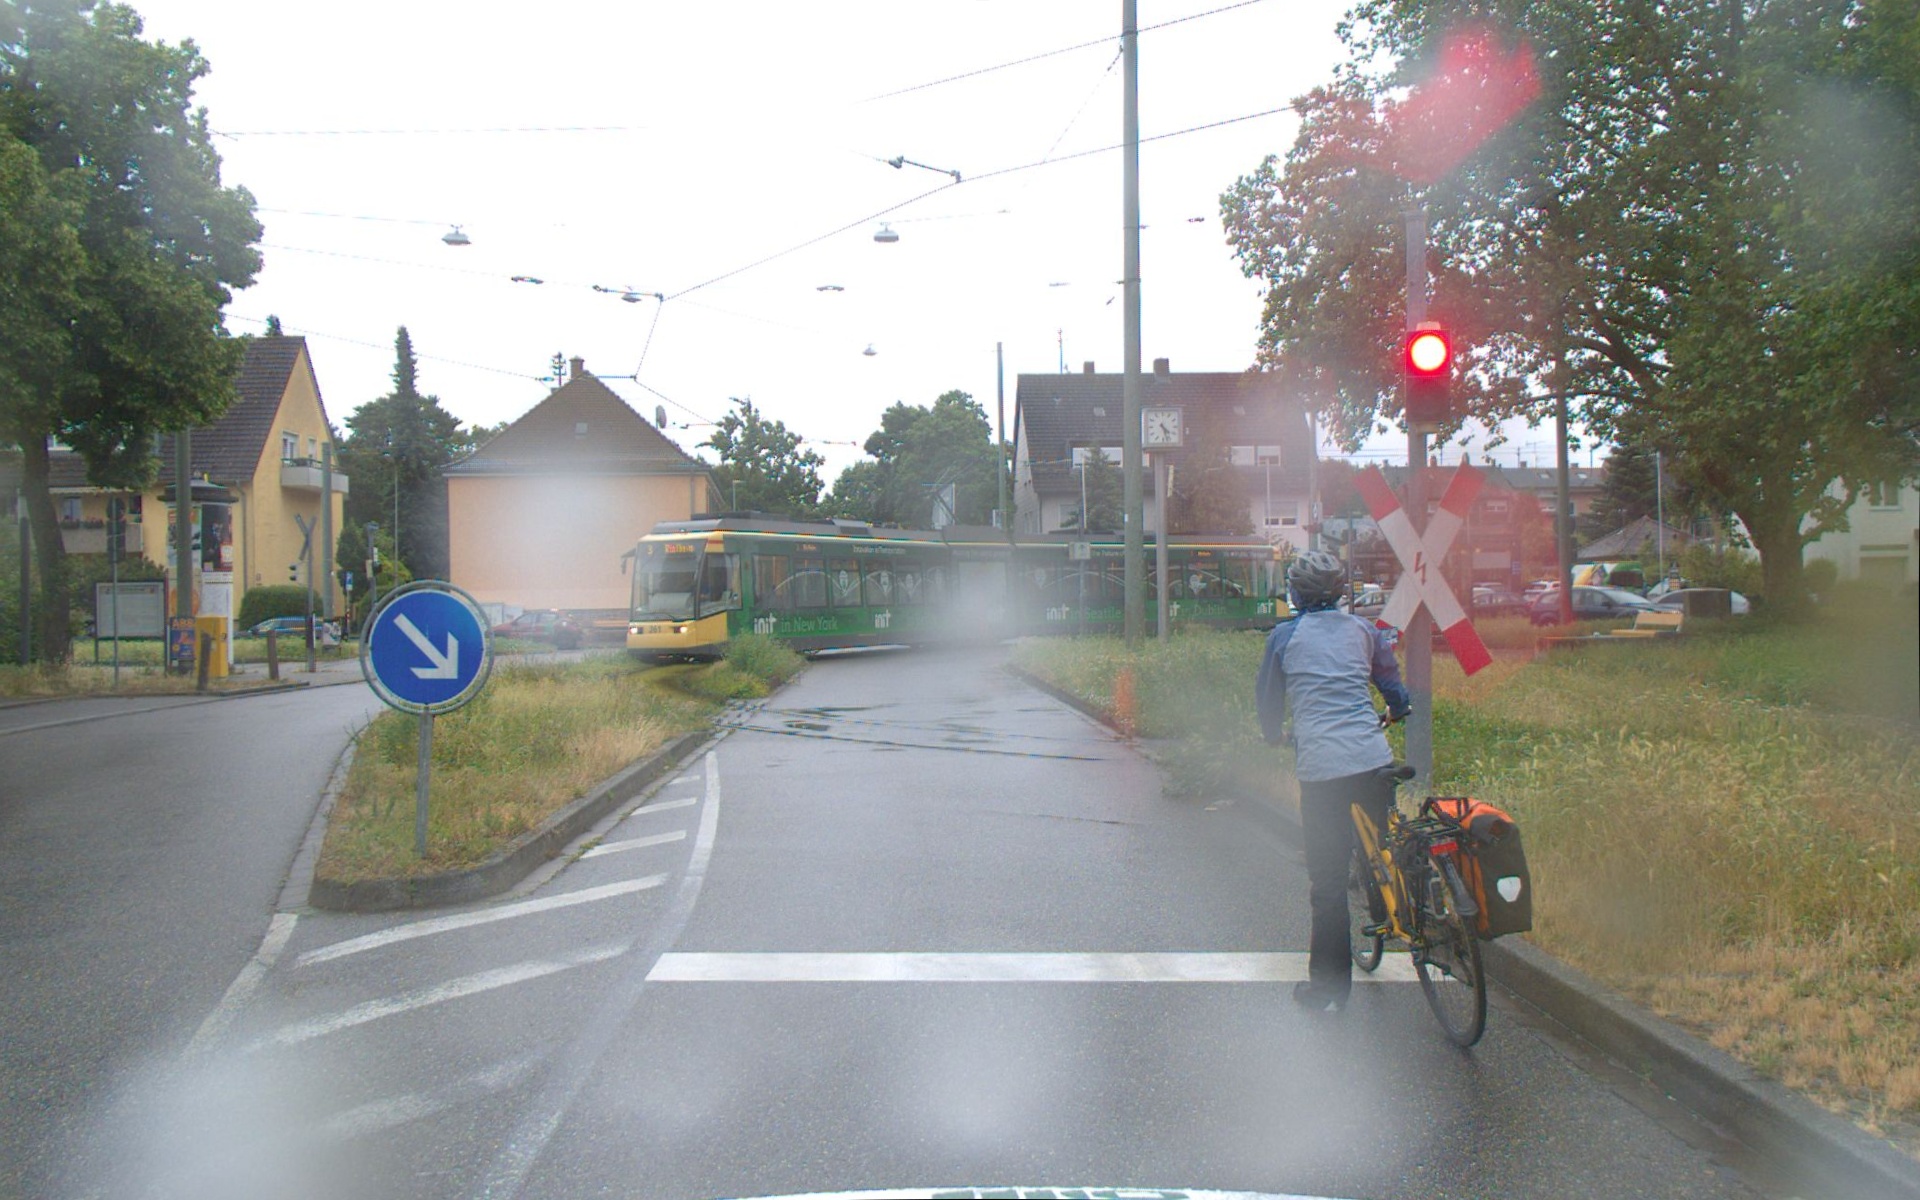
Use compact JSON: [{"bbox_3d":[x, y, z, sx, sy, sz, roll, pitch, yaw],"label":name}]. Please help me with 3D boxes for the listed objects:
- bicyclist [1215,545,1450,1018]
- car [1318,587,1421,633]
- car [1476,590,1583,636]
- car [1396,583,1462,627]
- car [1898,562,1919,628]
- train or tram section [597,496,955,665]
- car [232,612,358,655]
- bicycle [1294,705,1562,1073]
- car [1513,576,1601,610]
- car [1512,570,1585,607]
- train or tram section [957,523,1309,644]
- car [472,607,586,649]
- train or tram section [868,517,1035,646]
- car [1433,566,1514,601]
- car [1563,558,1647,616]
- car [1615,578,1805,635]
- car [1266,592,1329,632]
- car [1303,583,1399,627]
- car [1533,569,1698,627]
[{"bbox_3d":[1.377,0.642,6.242,0.653,1.654,0.852,1,-1,-2],"label":"bicyclist"},{"bbox_3d":[16.143,0.402,65.338,3.609,1.731,1.890,1,0,0],"label":"car"},{"bbox_3d":[22.601,0.515,65.739,3.609,1.731,1.890,1,0,0],"label":"car"},{"bbox_3d":[20.556,0.232,72.592,1.952,1.822,4.001,1,0,3],"label":"car"},{"bbox_3d":[28.132,-0.108,45.526,3.703,1.829,1.799,1,-1,43],"label":"car"},{"bbox_3d":[-4.095,-0.475,41.544,2.707,3.615,12.190,1,1,27],"label":"train or tram section"},{"bbox_3d":[-24.449,1.223,60.948,3.911,1.482,1.831,1,0,-7],"label":"car"},{"bbox_3d":[1.649,0.965,6.070,0.437,1.022,1.727,-1,1,-2],"label":"bicycle"},{"bbox_3d":[31.053,-0.354,86.071,3.905,1.668,1.846,1,0,-1],"label":"car"},{"bbox_3d":[34.222,-0.636,96.293,1.963,2.049,3.978,1,0,-19],"label":"car"},{"bbox_3d":[5.938,-0.560,54.209,12.982,3.615,2.735,0,1,-36],"label":"train or tram section"},{"bbox_3d":[-16.194,1.038,62.320,3.911,1.482,1.831,1,0,-7],"label":"car"},{"bbox_3d":[-0.177,-0.521,48.980,2.710,3.615,4.976,1,0,32],"label":"train or tram section"},{"bbox_3d":[28.540,-0.901,92.062,3.904,1.822,2.000,1,0,2],"label":"car"},{"bbox_3d":[28.814,-0.561,74.024,1.953,2.485,4.352,1,0,-2],"label":"car"},{"bbox_3d":[18.463,0.159,40.857,3.902,1.308,1.847,1,0,6],"label":"car"},{"bbox_3d":[14.551,0.526,71.173,1.804,1.668,3.997,1,0,24],"label":"car"},{"bbox_3d":[18.082,0.236,76.538,3.907,1.985,1.999,1,-1,-3],"label":"car"},{"bbox_3d":[18.010,-0.065,45.494,3.848,1.522,1.798,1,-1,43],"label":"car"}]
